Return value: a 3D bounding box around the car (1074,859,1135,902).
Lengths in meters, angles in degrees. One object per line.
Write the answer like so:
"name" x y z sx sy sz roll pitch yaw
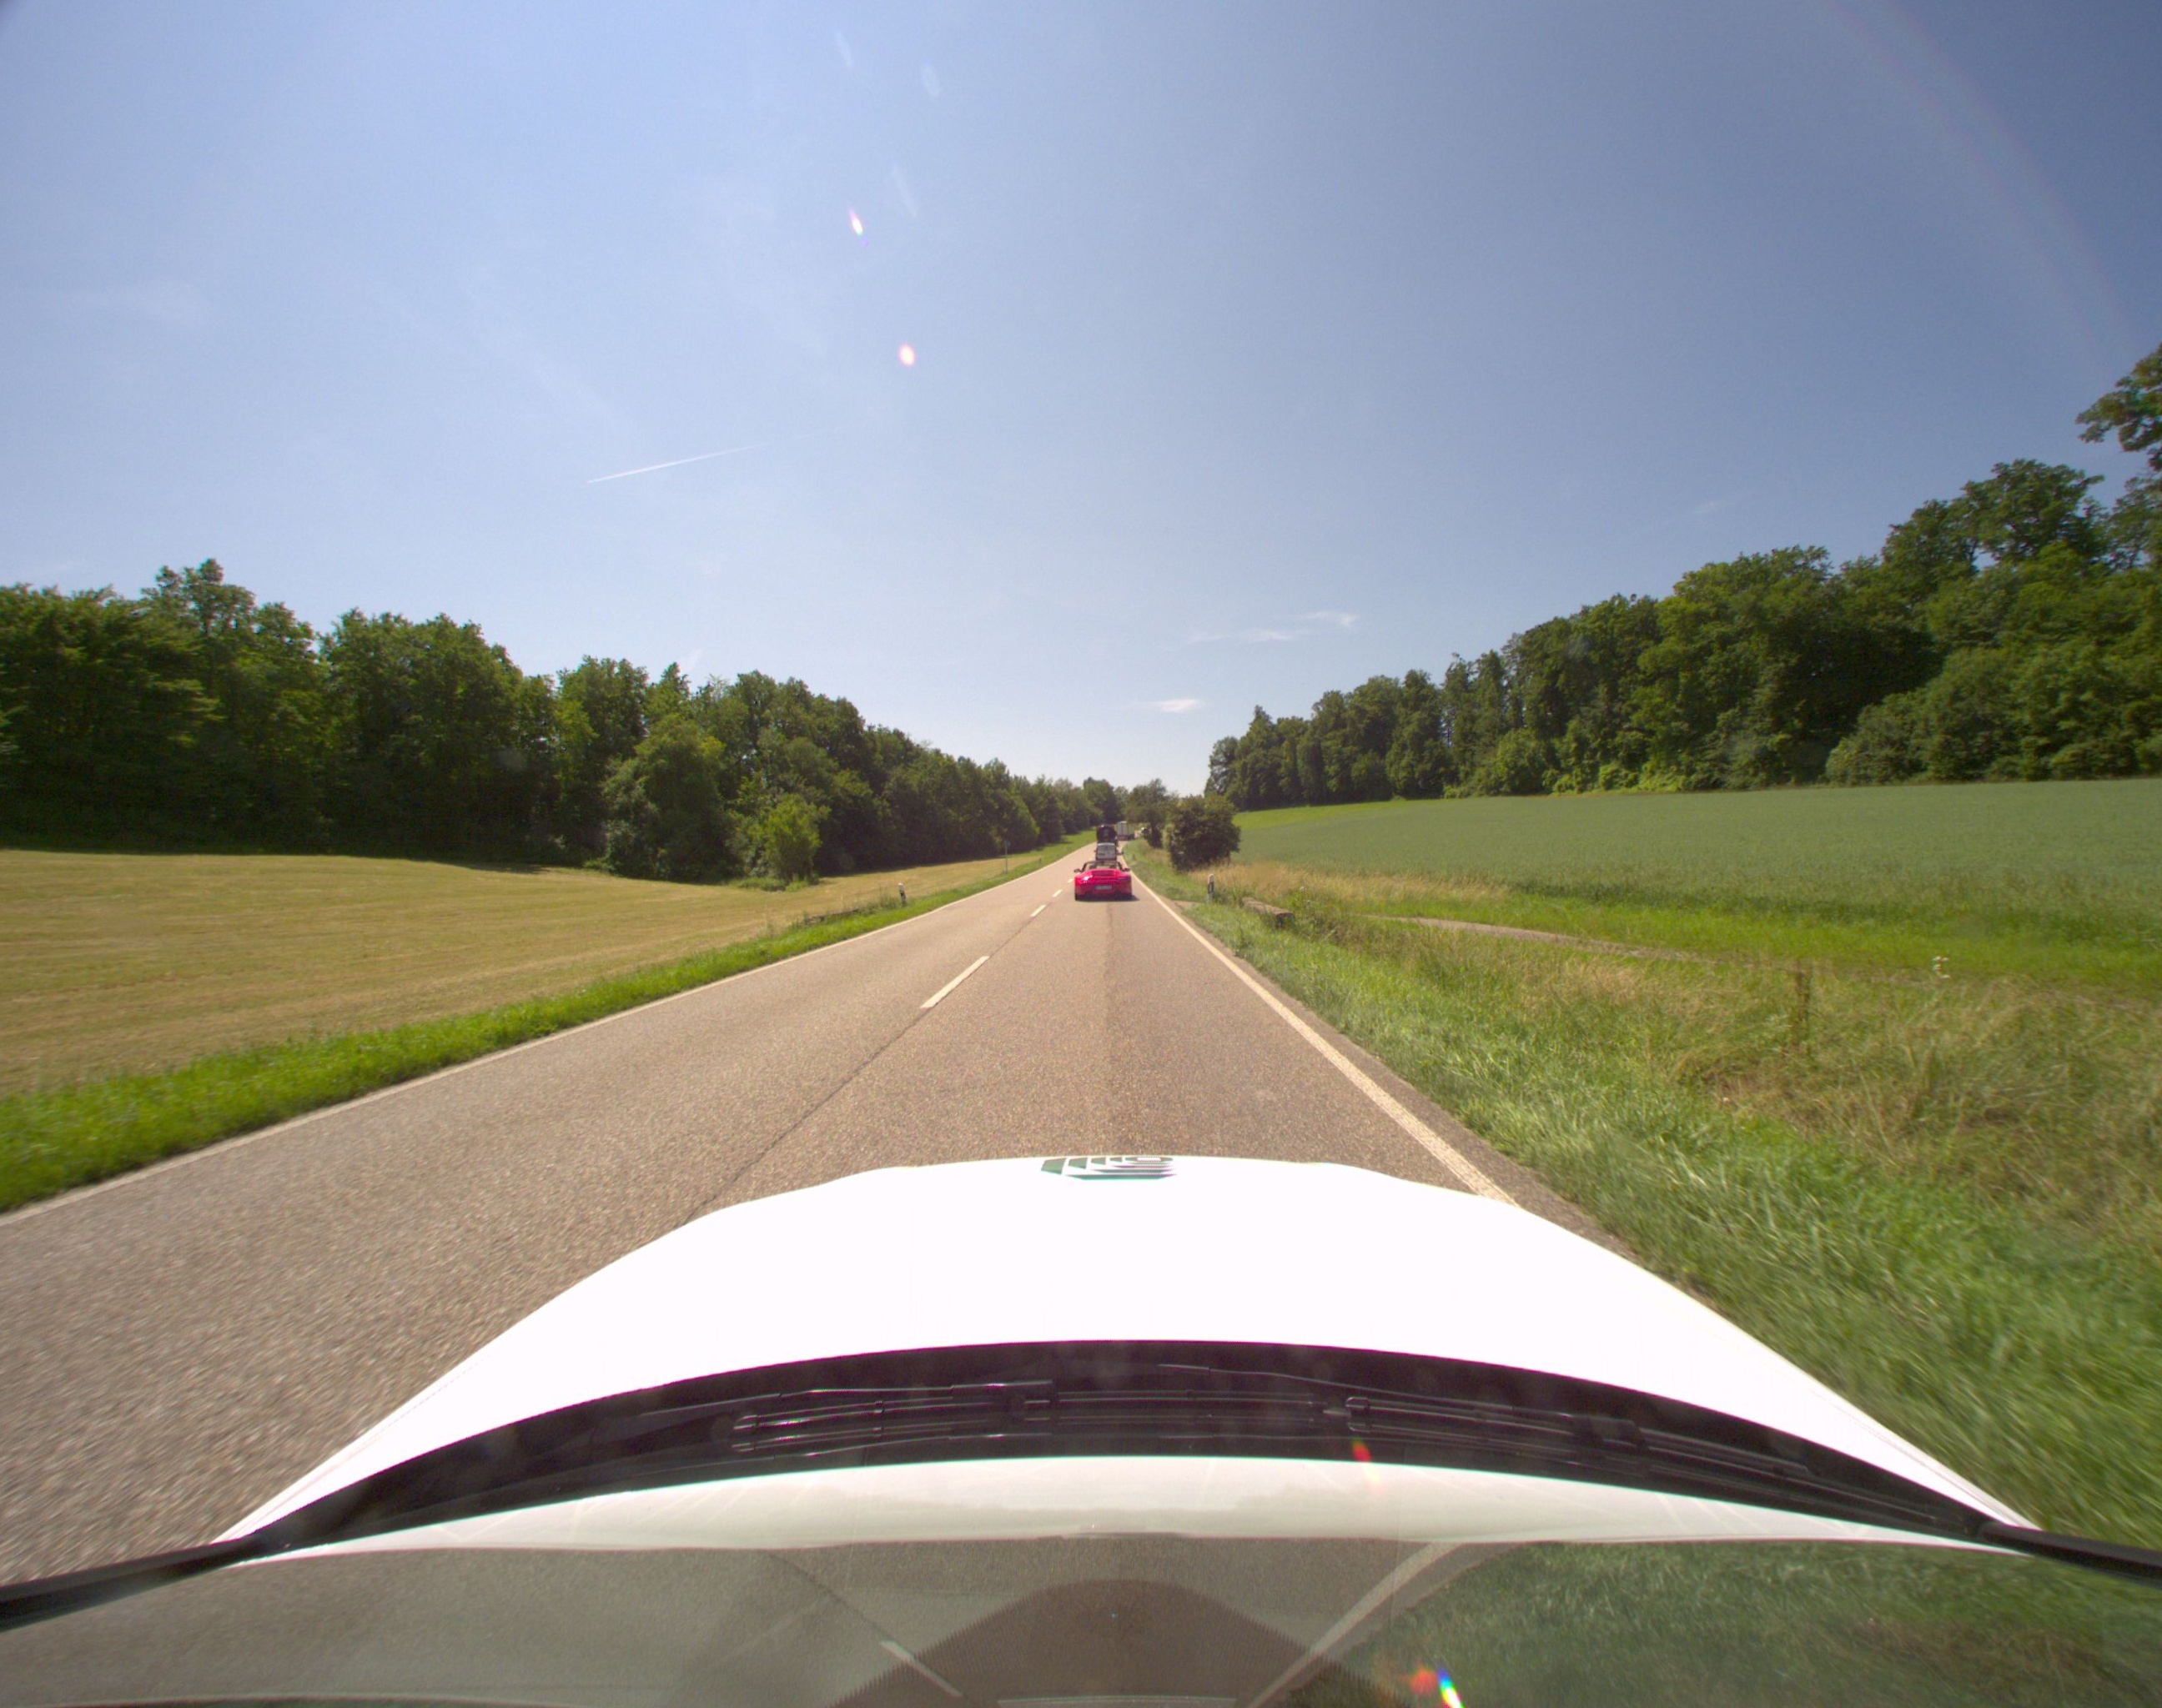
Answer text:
"car" 0.801 0.843 27.424 1.875 1.255 4.011 -1 0 2

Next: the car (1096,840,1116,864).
"car" 2.196 -0.177 71.707 1.672 1.900 4.012 -3 2 2

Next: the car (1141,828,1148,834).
"car" 17.486 -6.314 223.731 1.691 1.496 3.714 -4 2 2

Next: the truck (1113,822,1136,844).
"truck" 9.996 -4.895 187.236 3.702 4.659 12.067 -1 3 10

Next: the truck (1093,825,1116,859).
"truck" 3.211 -1.664 108.498 2.394 4.049 12.562 -4 2 3

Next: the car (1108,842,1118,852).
"car" 5.860 -1.296 149.944 1.823 1.513 4.194 -3 2 2
